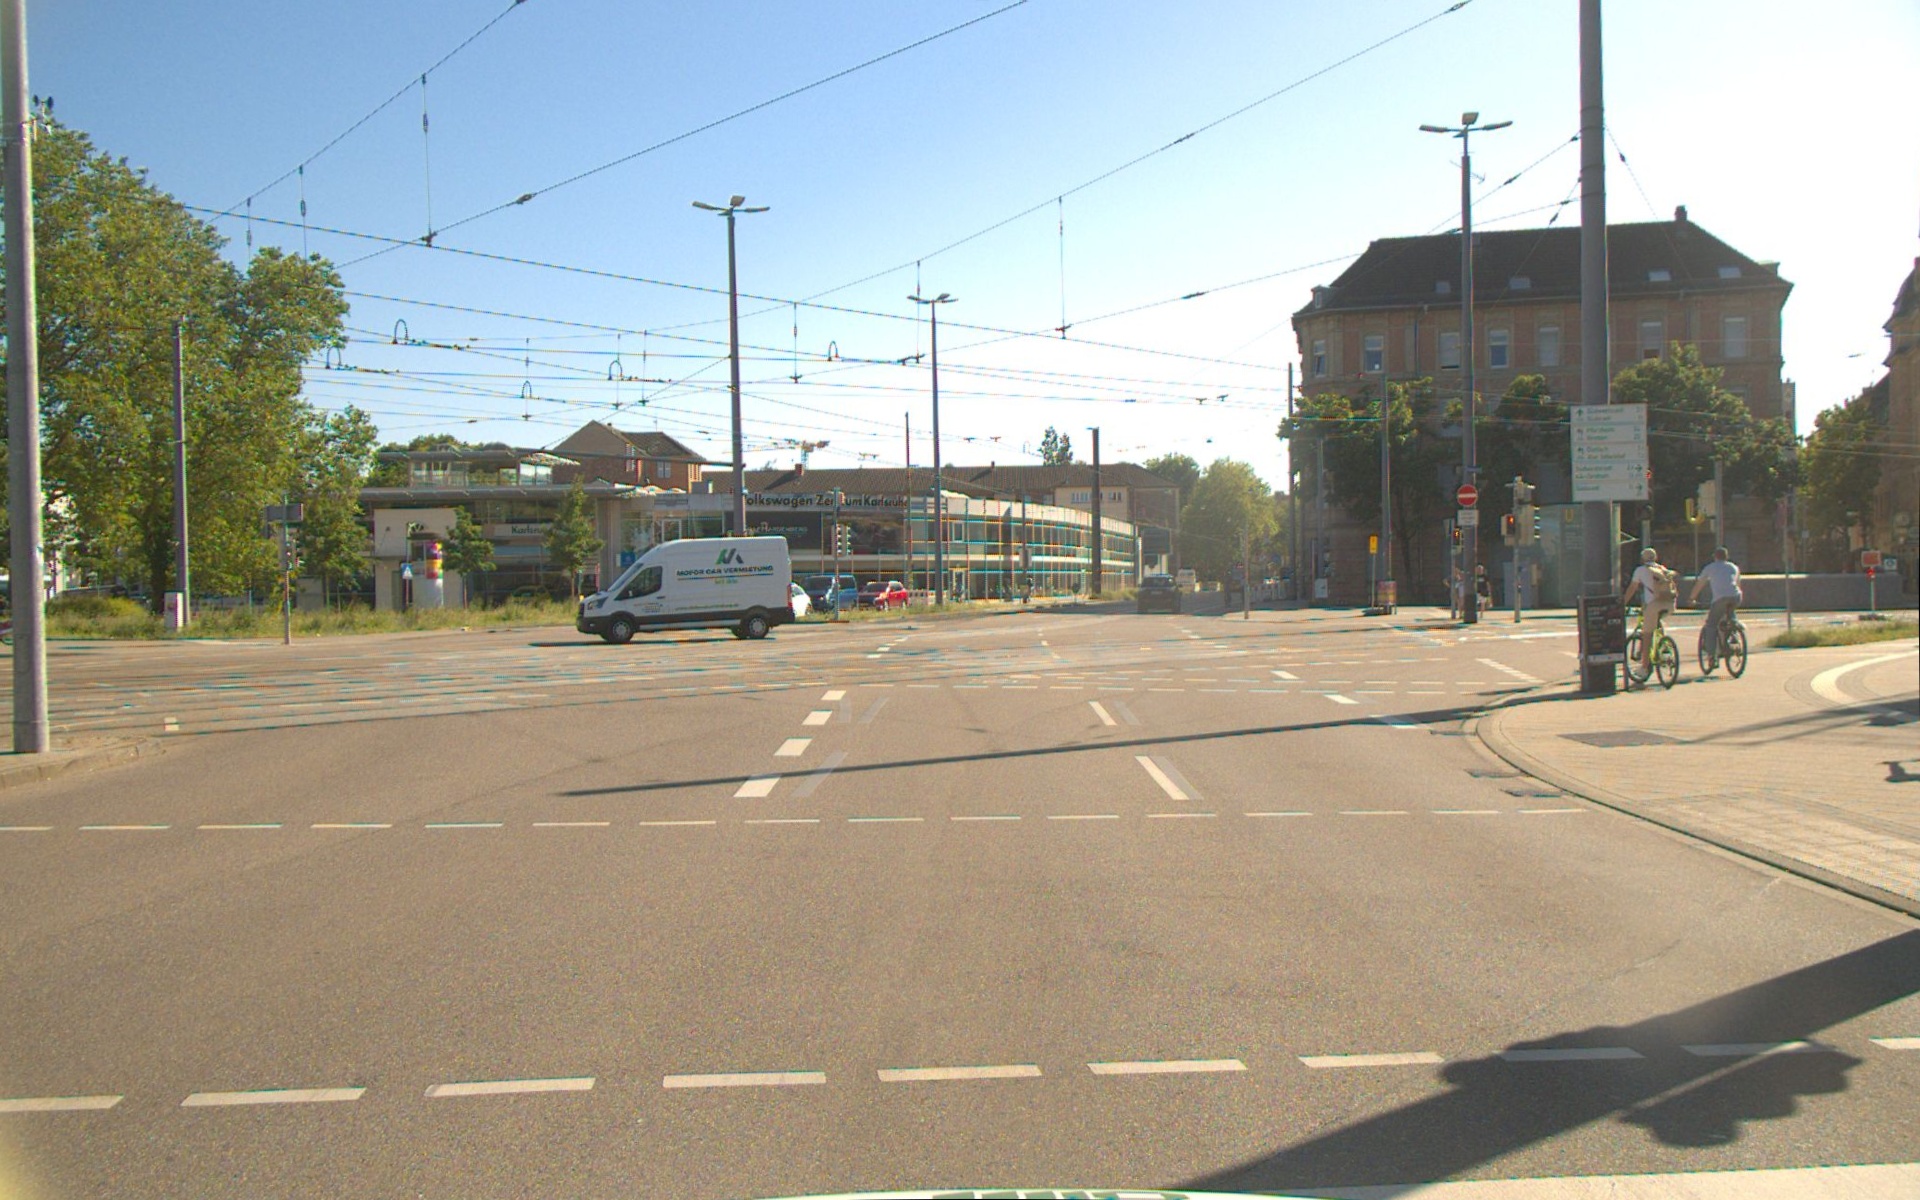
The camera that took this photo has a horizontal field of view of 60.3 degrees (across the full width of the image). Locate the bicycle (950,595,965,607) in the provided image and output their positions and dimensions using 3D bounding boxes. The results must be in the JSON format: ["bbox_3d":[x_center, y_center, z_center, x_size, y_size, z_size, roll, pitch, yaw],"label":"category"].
[{"bbox_3d":[-0.152,0.059,102.418,0.414,0.730,1.475,-1,1,21],"label":"bicycle"}]

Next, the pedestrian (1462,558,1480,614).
[{"bbox_3d":[18.845,-0.534,60.983,0.453,2.049,0.449,-1,1,-18],"label":"pedestrian"}]

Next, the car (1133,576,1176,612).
[{"bbox_3d":[8.789,-0.283,74.388,1.662,1.529,4.268,-1,1,10],"label":"car"}]

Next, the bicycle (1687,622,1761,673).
[{"bbox_3d":[11.160,0.690,24.196,0.525,0.667,1.469,-2,1,6],"label":"bicycle"}]

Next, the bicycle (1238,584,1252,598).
[{"bbox_3d":[18.112,-0.599,105.175,0.727,0.885,1.933,-1,0,14],"label":"bicycle"}]

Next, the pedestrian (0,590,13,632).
[{"bbox_3d":[-28.434,0.325,48.791,0.784,1.225,0.556,-1,0,-26],"label":"pedestrian"}]

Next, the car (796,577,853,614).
[{"bbox_3d":[-6.425,-0.238,78.857,1.591,1.722,3.689,-1,1,14],"label":"car"}]

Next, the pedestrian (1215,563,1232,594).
[{"bbox_3d":[14.309,-1.179,89.937,0.786,1.660,0.718,-1,0,18],"label":"pedestrian"}]

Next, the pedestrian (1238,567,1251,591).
[{"bbox_3d":[18.096,-1.343,105.149,0.730,1.549,0.719,-1,0,14],"label":"pedestrian"}]

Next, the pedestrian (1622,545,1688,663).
[{"bbox_3d":[9.561,0.051,22.778,0.537,1.590,0.858,-1,0,1],"label":"pedestrian"}]

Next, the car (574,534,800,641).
[{"bbox_3d":[-7.484,-0.374,45.415,5.819,2.792,2.131,-1,0,-21],"label":"car"}]

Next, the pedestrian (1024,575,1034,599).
[{"bbox_3d":[5.069,-0.961,120.848,0.531,1.718,0.630,-1,0,22],"label":"pedestrian"}]

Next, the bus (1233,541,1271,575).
[{"bbox_3d":[37.081,-5.188,208.995,3.755,3.670,24.887,1,0,12],"label":"bus"}]

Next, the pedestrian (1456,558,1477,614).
[{"bbox_3d":[18.460,-0.513,60.267,0.564,2.049,0.449,-1,1,-19],"label":"pedestrian"}]

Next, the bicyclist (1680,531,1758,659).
[{"bbox_3d":[11.117,-0.074,24.245,0.731,1.809,0.925,-2,0,6],"label":"bicyclist"}]

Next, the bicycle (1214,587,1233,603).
[{"bbox_3d":[14.265,-0.279,89.649,0.727,0.885,1.932,-1,0,18],"label":"bicycle"}]

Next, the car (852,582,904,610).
[{"bbox_3d":[-4.247,-0.202,86.017,1.591,1.388,3.688,-1,1,16],"label":"car"}]

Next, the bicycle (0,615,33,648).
[{"bbox_3d":[-28.485,0.948,48.766,1.980,0.929,0.558,-1,0,-26],"label":"bicycle"}]

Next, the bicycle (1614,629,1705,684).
[{"bbox_3d":[9.626,0.765,22.813,0.526,0.667,1.726,-3,0,1],"label":"bicycle"}]

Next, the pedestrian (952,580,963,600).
[{"bbox_3d":[-0.163,-0.603,102.410,0.414,1.225,0.680,-1,0,21],"label":"pedestrian"}]

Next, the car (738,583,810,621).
[{"bbox_3d":[-7.236,0.075,64.827,1.591,1.406,3.741,-1,1,14],"label":"car"}]

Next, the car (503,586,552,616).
[{"bbox_3d":[-25.977,0.044,99.471,1.926,1.735,4.083,-1,1,-1],"label":"car"}]
